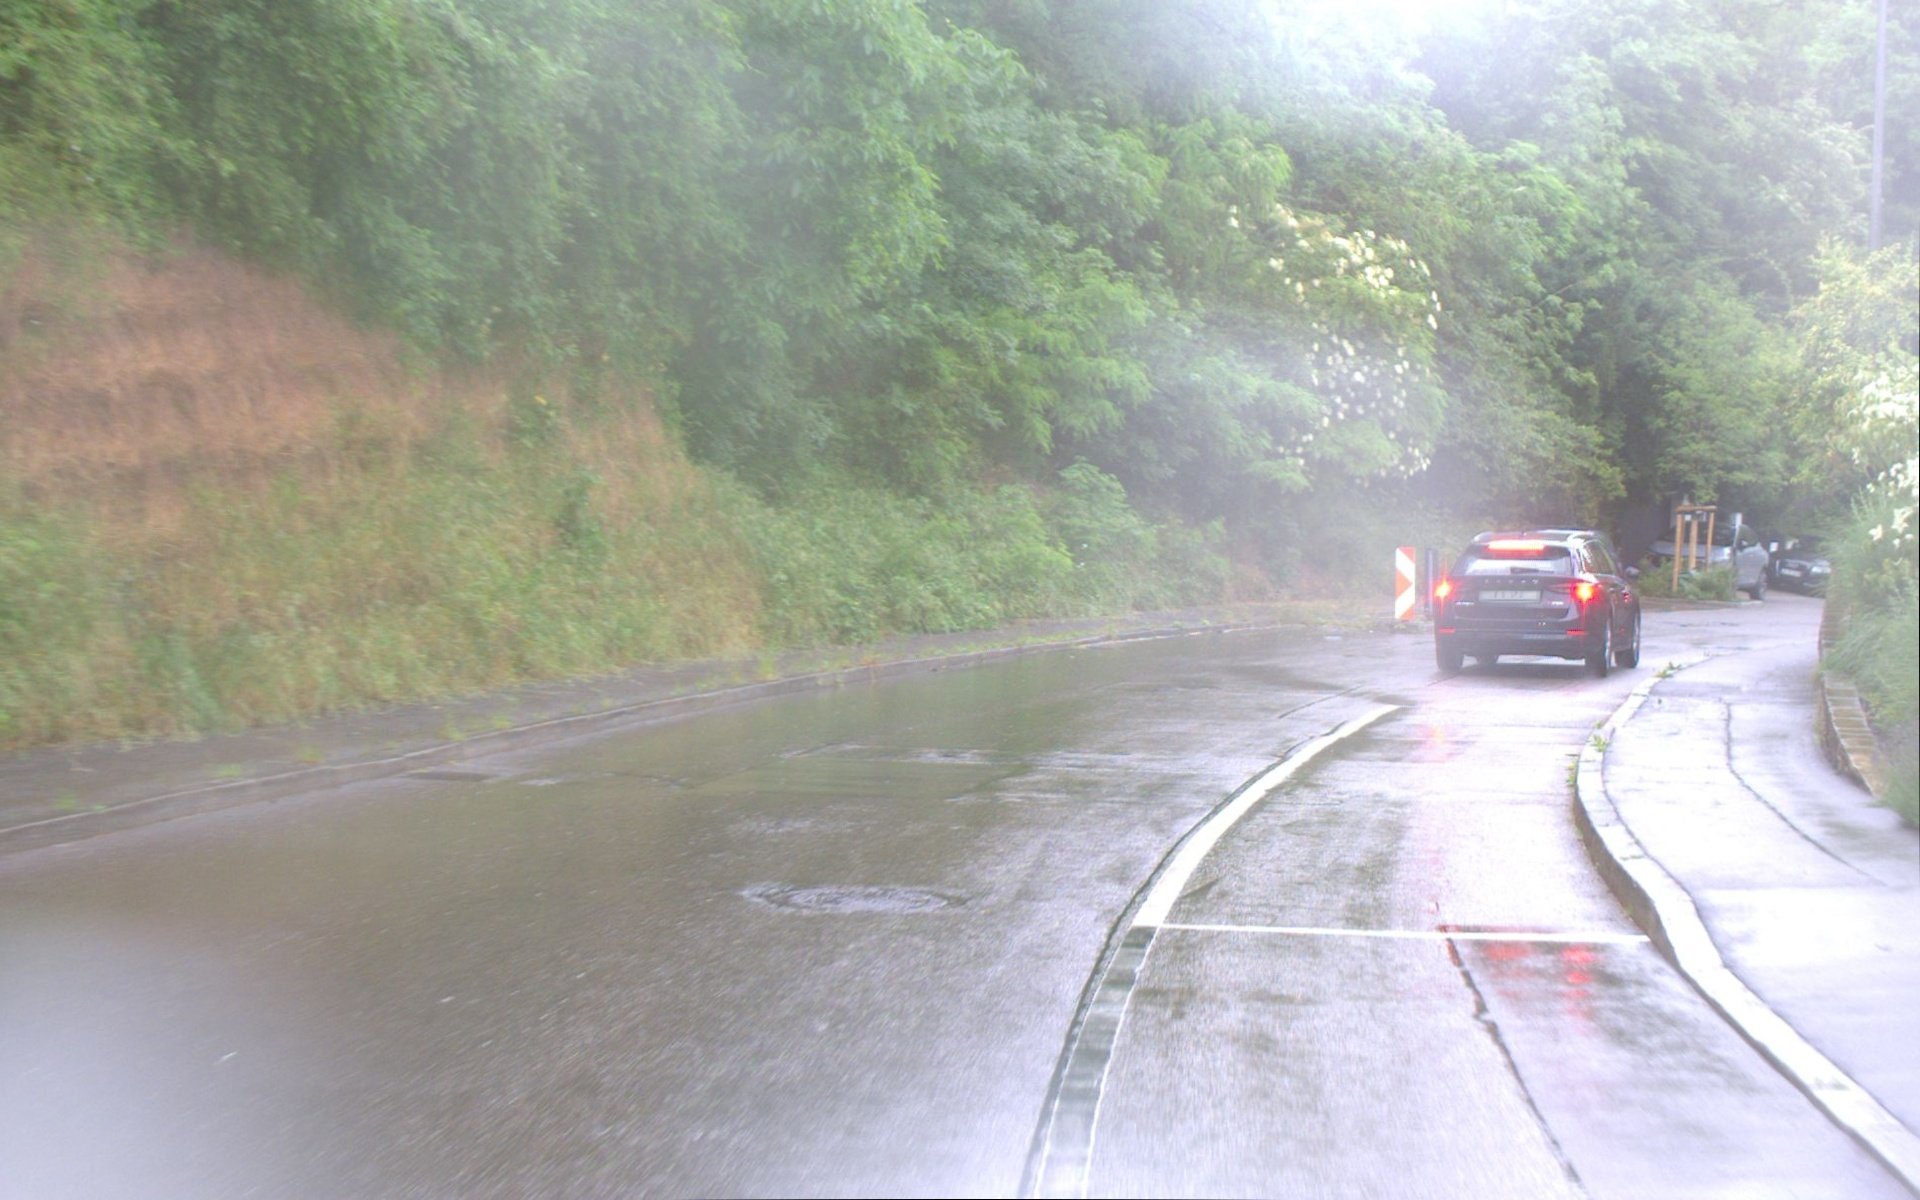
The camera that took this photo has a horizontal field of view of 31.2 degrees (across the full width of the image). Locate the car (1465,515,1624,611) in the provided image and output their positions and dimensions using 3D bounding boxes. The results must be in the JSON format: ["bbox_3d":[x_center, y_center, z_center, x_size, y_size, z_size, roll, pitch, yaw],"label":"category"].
[{"bbox_3d":[9.867,-0.649,57.851,1.702,1.466,3.995,4,3,23],"label":"car"}]

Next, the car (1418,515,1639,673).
[{"bbox_3d":[6.045,-0.103,36.214,1.870,1.507,4.090,2,2,15],"label":"car"}]

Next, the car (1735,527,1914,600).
[{"bbox_3d":[20.068,-0.835,79.704,1.999,1.503,4.559,5,2,43],"label":"car"}]
